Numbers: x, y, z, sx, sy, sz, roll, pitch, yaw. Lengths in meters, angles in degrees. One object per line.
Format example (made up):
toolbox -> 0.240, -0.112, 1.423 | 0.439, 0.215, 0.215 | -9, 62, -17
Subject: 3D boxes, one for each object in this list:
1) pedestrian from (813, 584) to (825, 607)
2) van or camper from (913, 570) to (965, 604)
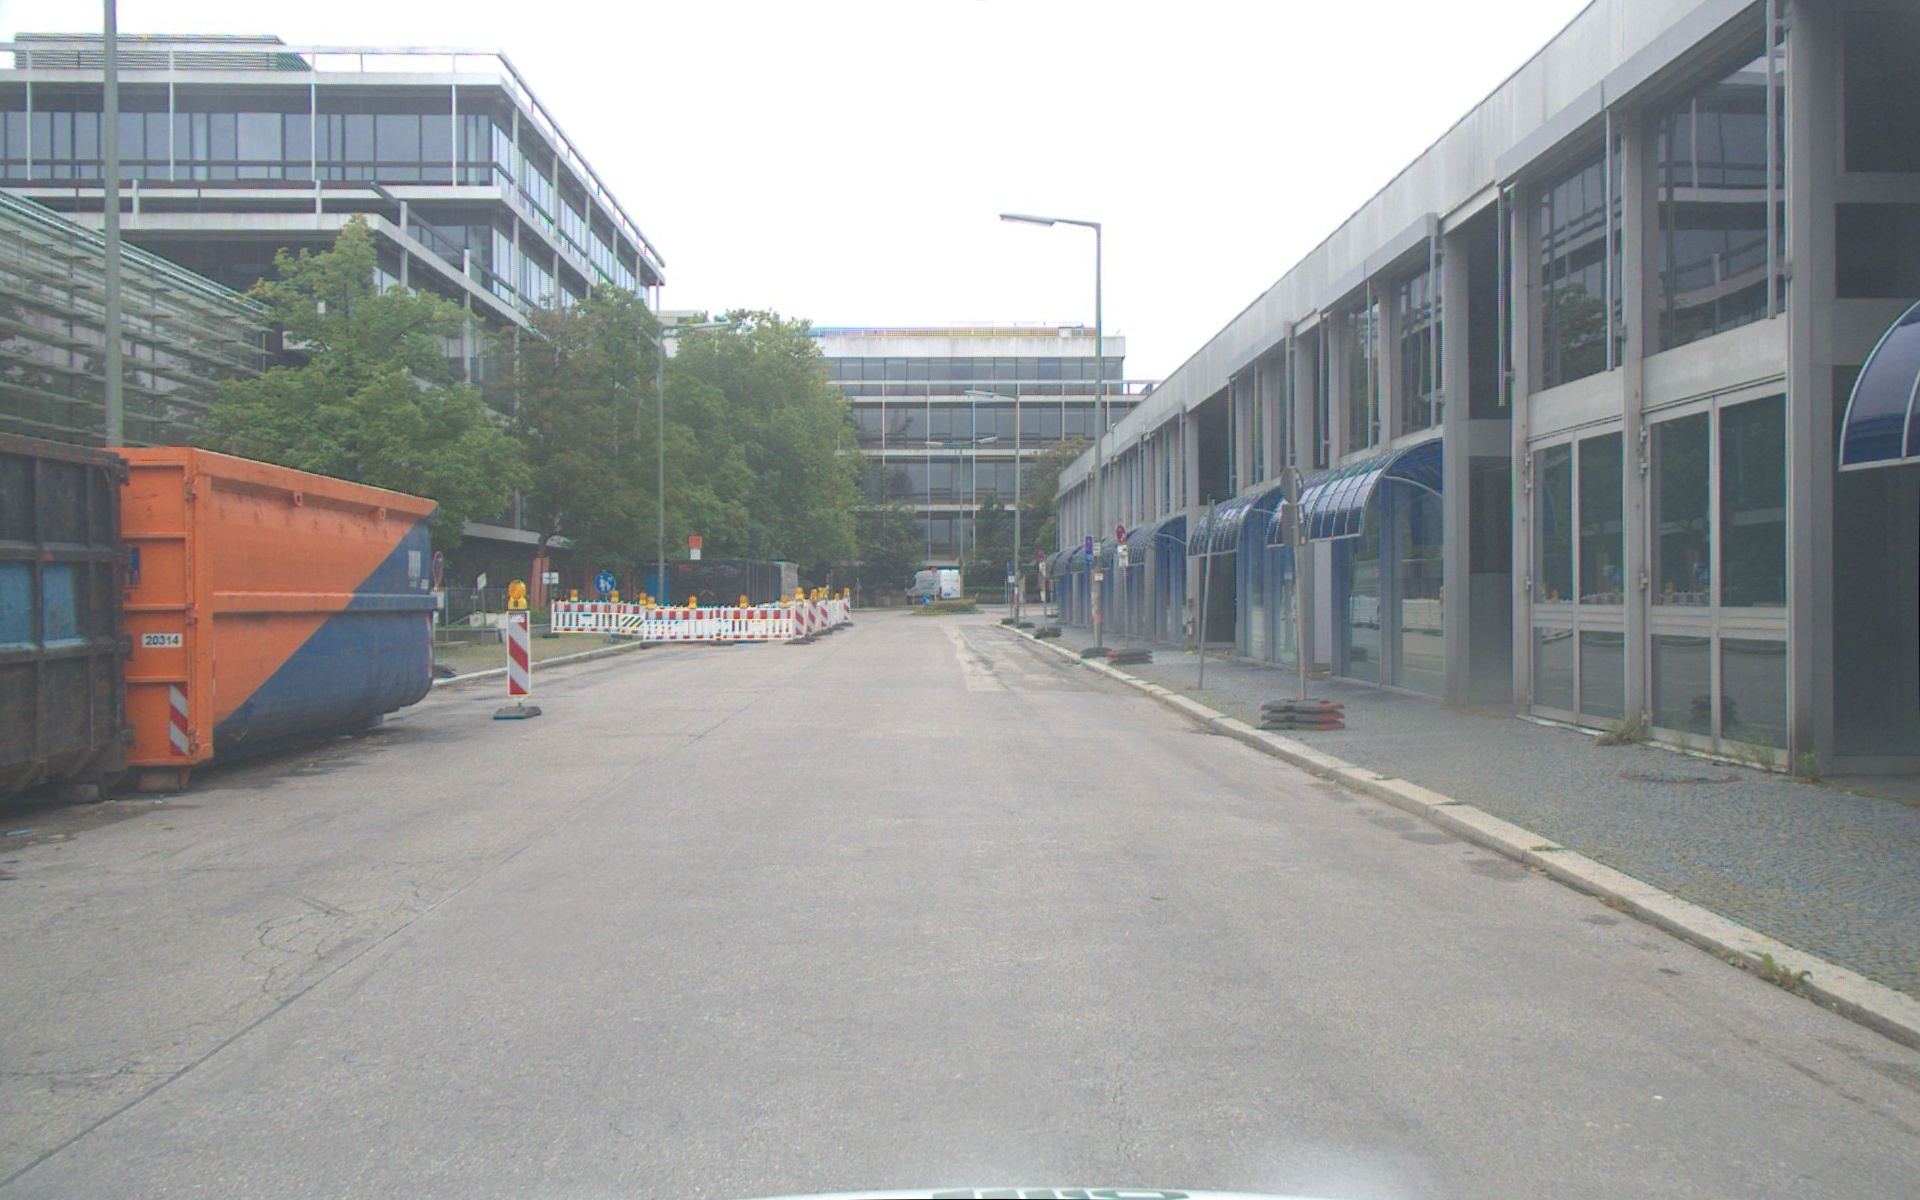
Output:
pedestrian -> -10.691, -0.348, 125.057 | 0.730, 1.706, 0.678 | 0, 0, -21
van or camper -> -1.657, -0.991, 126.620 | 2.060, 2.535, 5.024 | 0, 0, -26
